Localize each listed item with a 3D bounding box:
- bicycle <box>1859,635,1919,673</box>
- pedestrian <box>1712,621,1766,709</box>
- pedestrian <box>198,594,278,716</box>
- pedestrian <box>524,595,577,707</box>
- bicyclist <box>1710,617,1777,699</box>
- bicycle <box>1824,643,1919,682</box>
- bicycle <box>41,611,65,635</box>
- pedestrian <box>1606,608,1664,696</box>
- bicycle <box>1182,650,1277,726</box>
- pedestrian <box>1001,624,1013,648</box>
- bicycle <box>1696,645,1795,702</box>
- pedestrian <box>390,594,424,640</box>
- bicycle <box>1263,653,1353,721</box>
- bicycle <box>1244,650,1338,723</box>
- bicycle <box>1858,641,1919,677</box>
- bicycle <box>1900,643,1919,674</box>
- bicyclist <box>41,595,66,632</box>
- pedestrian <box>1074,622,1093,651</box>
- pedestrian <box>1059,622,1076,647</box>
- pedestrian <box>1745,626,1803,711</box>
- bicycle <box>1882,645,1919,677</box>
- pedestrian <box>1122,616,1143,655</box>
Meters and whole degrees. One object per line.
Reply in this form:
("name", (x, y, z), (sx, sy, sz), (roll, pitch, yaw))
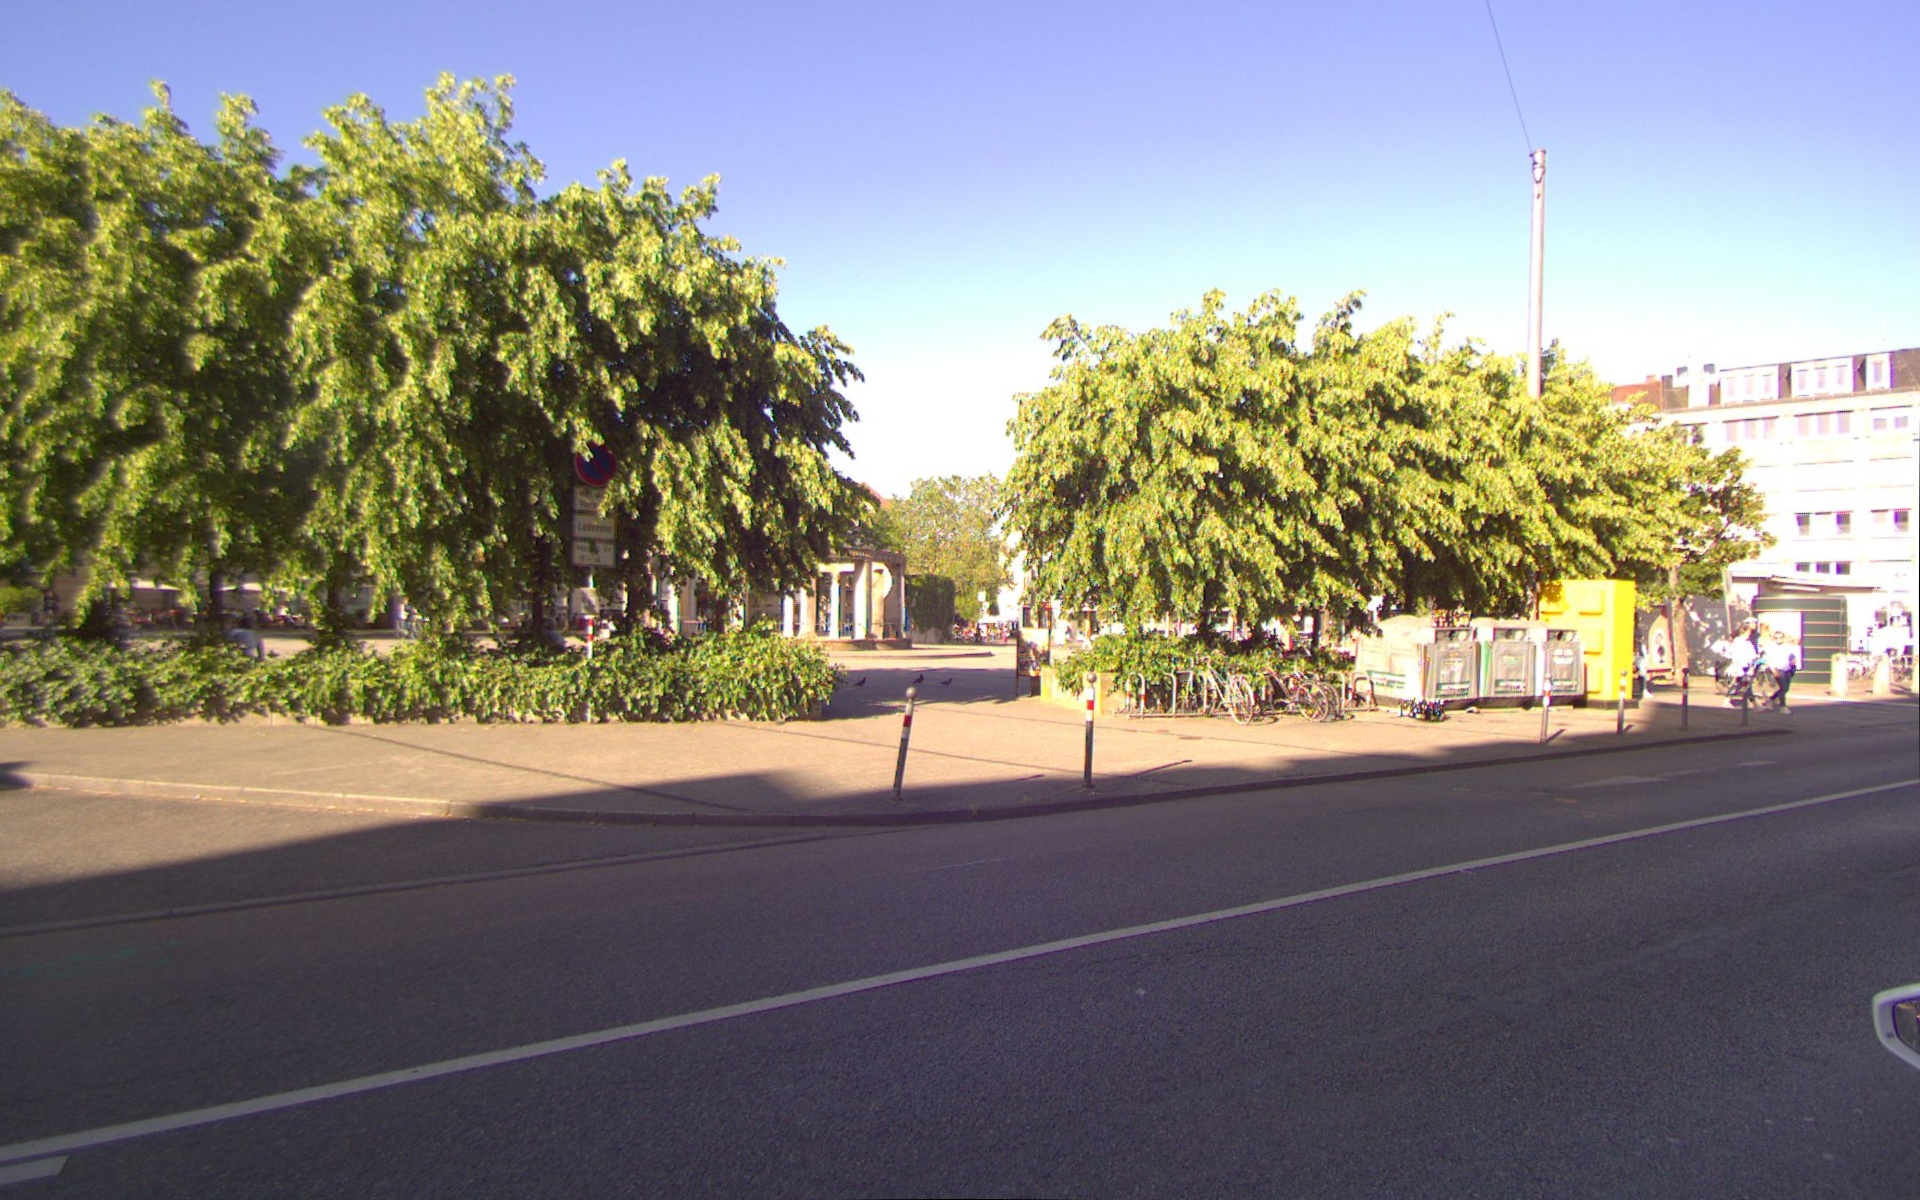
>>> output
("bicycle", (34.356, 1.958, 36.447), (0.913, 1.341, 2.461), (1, -1, -35))
("pedestrian", (15.881, 1.313, 20.482), (0.661, 1.751, 0.549), (1, -1, 3))
("pedestrian", (-10.876, 0.809, 15.164), (0.725, 1.781, 0.895), (1, -1, -19))
("pedestrian", (-6.701, 0.819, 16.461), (0.725, 1.781, 0.895), (1, -1, -19))
("bicyclist", (18.466, 1.348, 23.682), (0.773, 1.862, 0.952), (1, 0, -6))
("bicycle", (30.780, 2.069, 33.793), (0.833, 1.171, 2.493), (1, -1, -31))
("bicycle", (-36.320, 0.934, 40.249), (0.584, 0.966, 1.885), (2, -3, -39))
("pedestrian", (15.660, 1.189, 23.316), (0.699, 1.981, 0.828), (1, 0, -18))
("bicycle", (4.116, 1.320, 15.426), (0.425, 1.031, 1.590), (1, 0, -28))
("pedestrian", (4.222, 3.215, 90.171), (0.886, 2.041, 1.286), (0, 1, 11))
("bicycle", (18.460, 1.710, 23.661), (0.528, 1.154, 2.065), (1, 1, -6))
("pedestrian", (-21.749, 0.681, 39.520), (0.723, 1.781, 0.898), (1, -1, 29))
("bicycle", (5.651, 1.397, 16.378), (0.425, 0.971, 1.518), (0, 0, -28))
("bicycle", (5.261, 1.353, 16.055), (0.425, 1.036, 1.561), (1, -1, -28))
("bicycle", (32.996, 2.051, 34.958), (0.833, 1.171, 2.449), (1, -1, -31))
("bicycle", (38.554, 2.332, 39.433), (0.834, 1.171, 2.308), (1, -1, -34))
("bicyclist", (-36.312, 0.545, 40.237), (0.667, 1.447, 0.691), (1, -1, -37))
("pedestrian", (8.589, 2.531, 69.797), (0.804, 2.040, 1.047), (1, -1, -31))
("pedestrian", (9.186, 2.943, 85.704), (1.252, 2.040, 1.285), (1, -1, -4))
("pedestrian", (16.576, 1.384, 20.473), (0.609, 1.684, 0.685), (1, -1, -3))
("bicycle", (36.629, 2.343, 37.954), (0.834, 1.171, 2.517), (1, -1, -34))
("pedestrian", (9.403, 1.929, 54.918), (0.912, 2.040, 1.185), (1, -1, 0))
